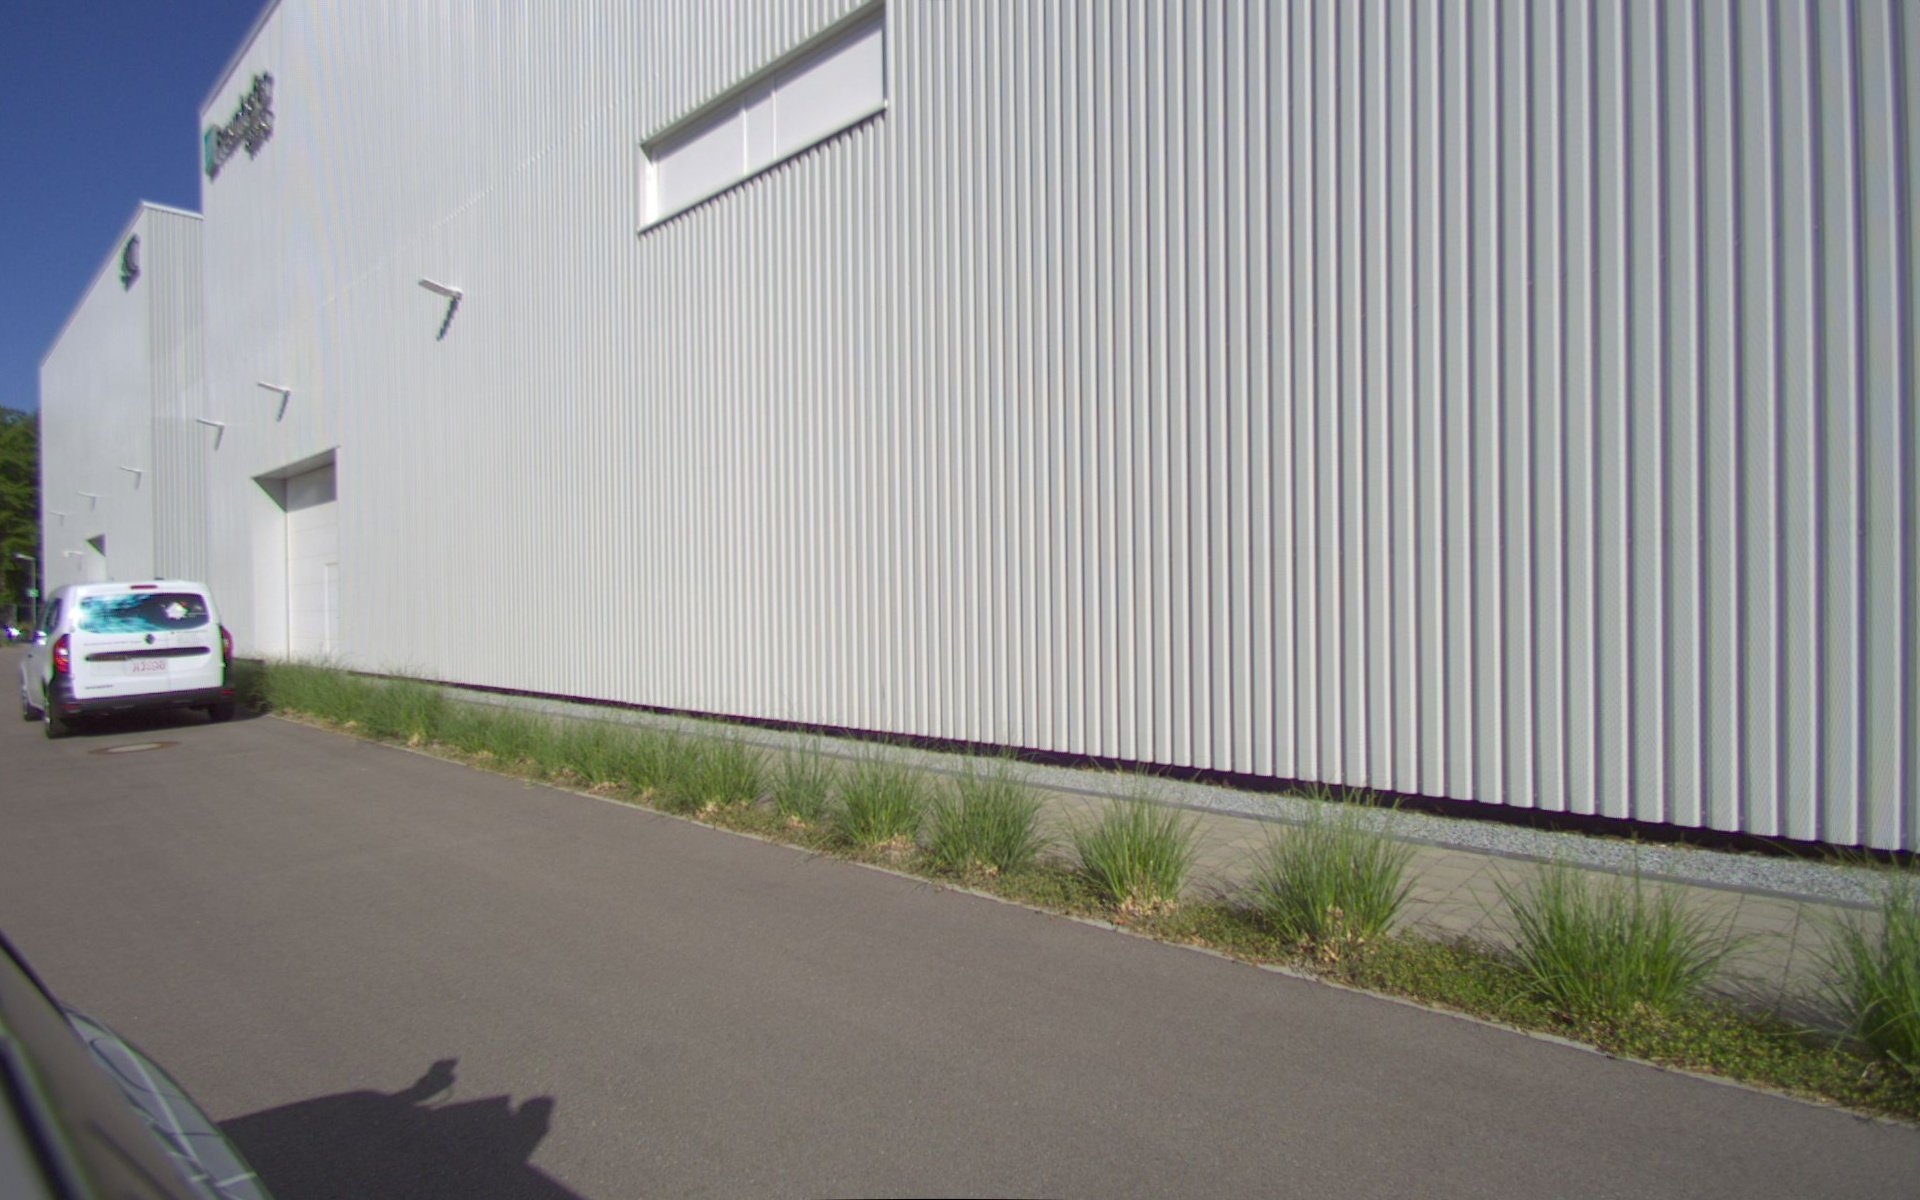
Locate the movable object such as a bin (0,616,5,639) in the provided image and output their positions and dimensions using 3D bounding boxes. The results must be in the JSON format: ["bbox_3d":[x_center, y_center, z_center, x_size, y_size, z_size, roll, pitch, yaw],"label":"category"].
[{"bbox_3d":[-59.613,1.703,62.283,1.289,1.445,1.125,-1,-2,43],"label":"movable object such as a bin"}]

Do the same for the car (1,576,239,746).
[{"bbox_3d":[-11.089,0.663,13.236,4.601,1.829,1.764,0,1,43],"label":"car"}]
